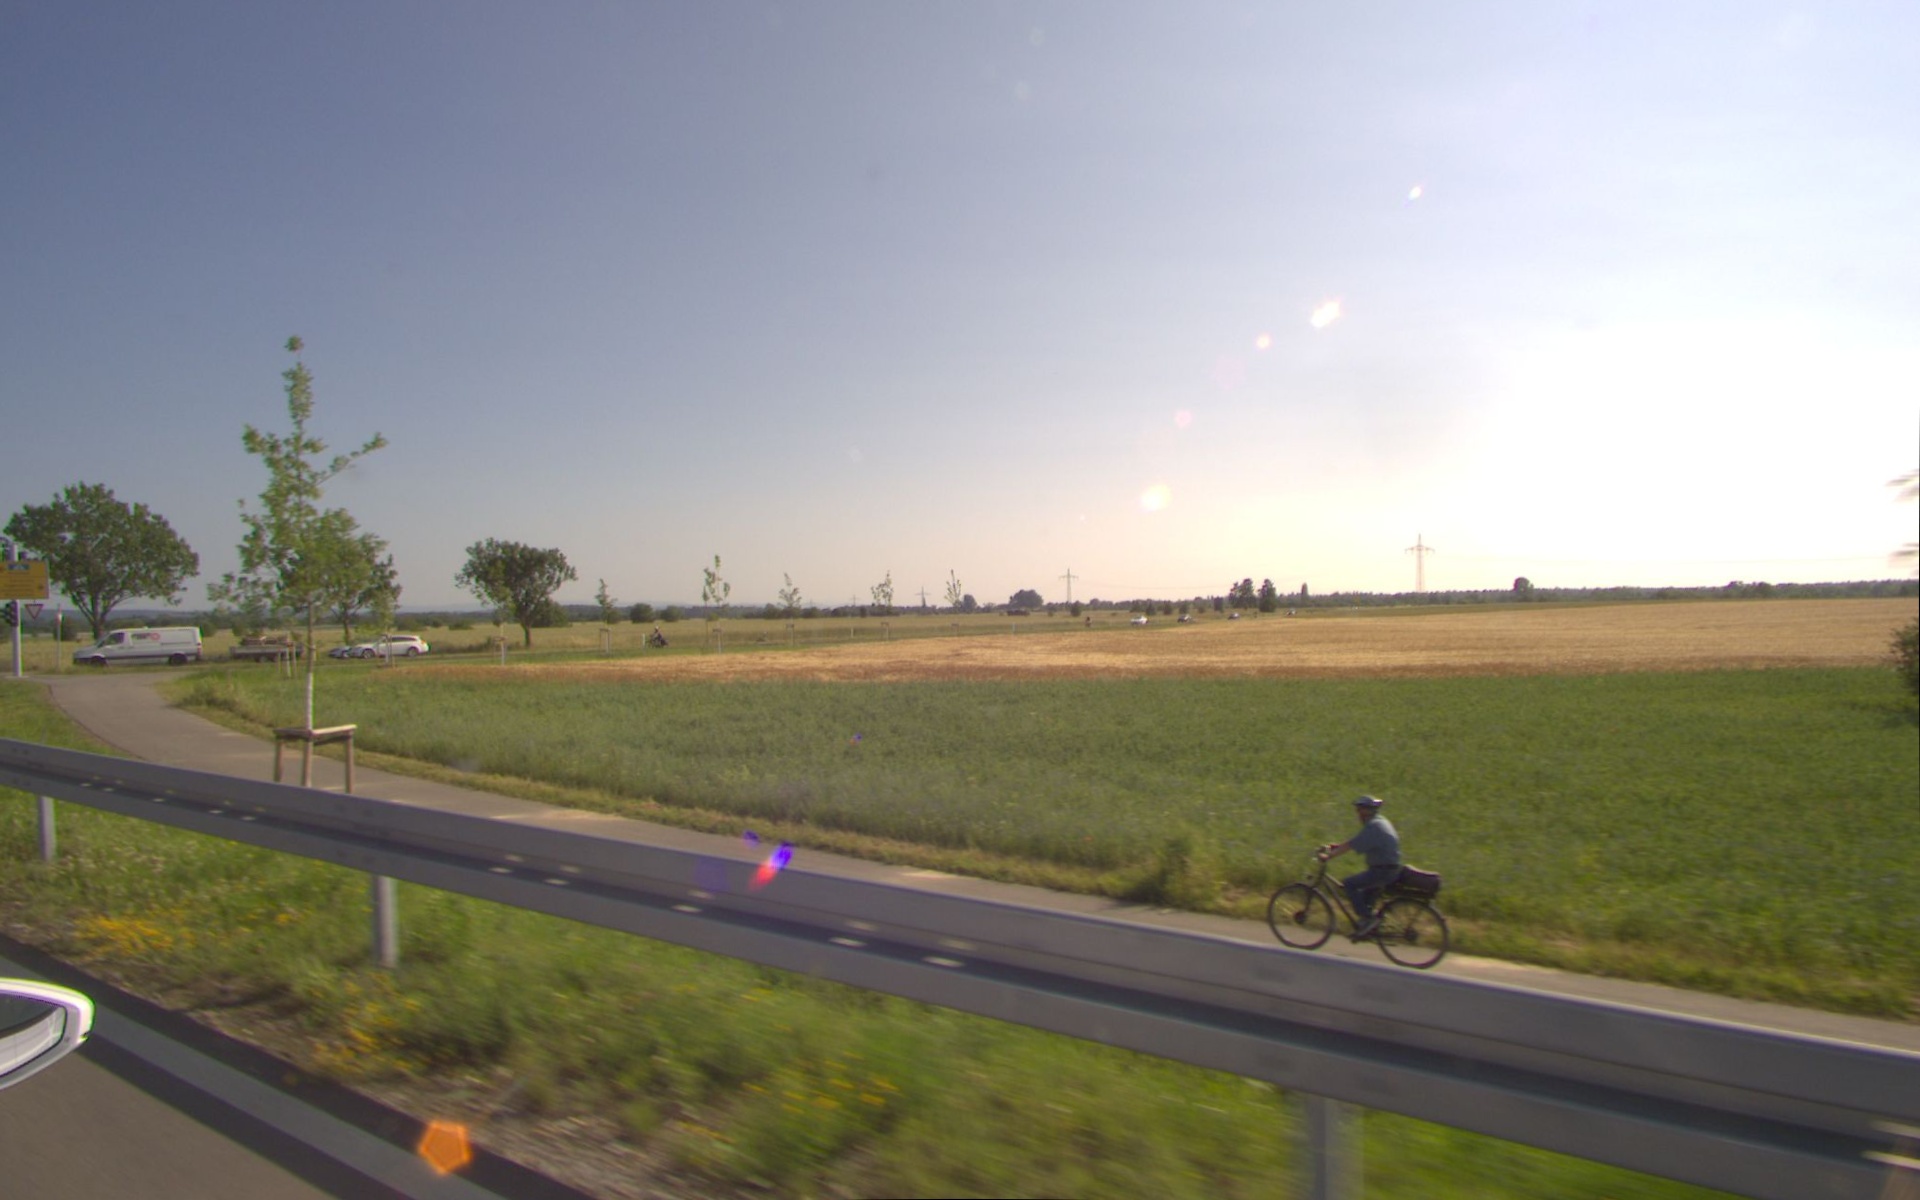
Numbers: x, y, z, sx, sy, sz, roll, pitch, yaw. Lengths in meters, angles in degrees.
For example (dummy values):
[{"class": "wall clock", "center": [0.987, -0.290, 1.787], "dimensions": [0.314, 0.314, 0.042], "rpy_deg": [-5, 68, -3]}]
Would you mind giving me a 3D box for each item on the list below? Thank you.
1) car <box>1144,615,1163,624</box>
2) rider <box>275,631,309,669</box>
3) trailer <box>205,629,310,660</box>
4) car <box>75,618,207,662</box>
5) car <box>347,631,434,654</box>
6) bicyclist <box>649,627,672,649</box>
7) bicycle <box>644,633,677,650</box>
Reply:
[{"class": "car", "center": [35.835, 3.593, 185.576], "dimensions": [1.991, 1.610, 4.861], "rpy_deg": [0, 0, 30]}, {"class": "rider", "center": [-30.599, 2.289, 45.879], "dimensions": [0.972, 1.665, 0.821], "rpy_deg": [0, 1, 1]}, {"class": "trailer", "center": [-44.111, 2.782, 62.936], "dimensions": [5.223, 1.775, 1.936], "rpy_deg": [0, -2, -43]}, {"class": "car", "center": [-48.265, 2.371, 59.123], "dimensions": [5.916, 2.523, 1.982], "rpy_deg": [2, -3, -43]}, {"class": "car", "center": [-38.792, 2.900, 68.314], "dimensions": [1.980, 1.528, 4.840], "rpy_deg": [-3, -4, 44]}, {"class": "bicyclist", "center": [-21.990, 2.769, 73.514], "dimensions": [1.153, 1.622, 1.271], "rpy_deg": [-1, 0, 45]}, {"class": "bicycle", "center": [-21.992, 3.024, 73.554], "dimensions": [0.881, 1.201, 2.143], "rpy_deg": [-3, -2, 45]}]
